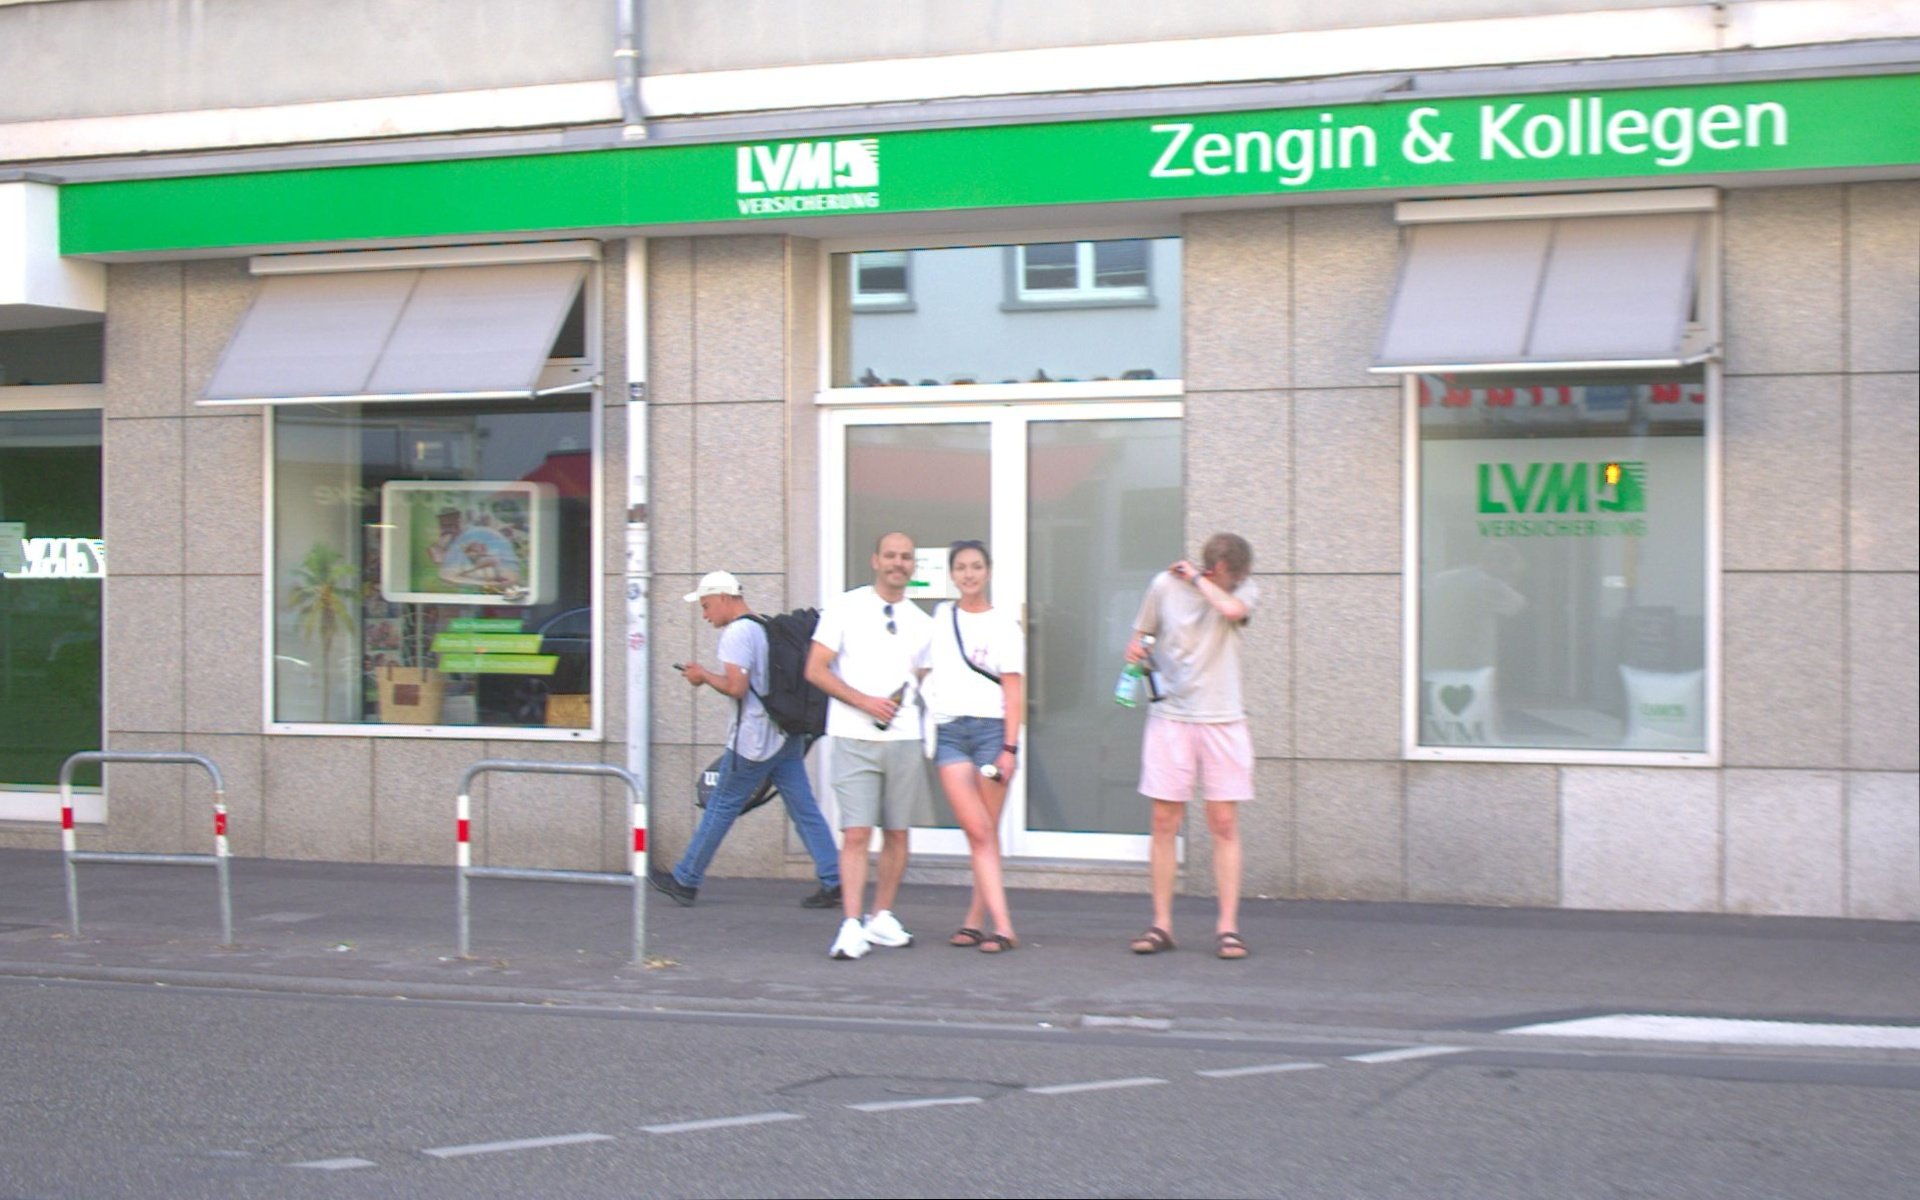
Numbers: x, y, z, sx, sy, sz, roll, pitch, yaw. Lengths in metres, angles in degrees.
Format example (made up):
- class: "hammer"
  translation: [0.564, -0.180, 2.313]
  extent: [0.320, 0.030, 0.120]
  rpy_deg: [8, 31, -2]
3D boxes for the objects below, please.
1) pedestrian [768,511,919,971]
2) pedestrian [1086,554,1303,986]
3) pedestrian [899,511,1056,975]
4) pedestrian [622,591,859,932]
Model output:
- class: "pedestrian"
  translation: [-0.494, 0.587, 14.687]
  extent: [0.495, 1.922, 0.575]
  rpy_deg: [0, 0, 15]
- class: "pedestrian"
  translation: [0.978, 0.681, 14.265]
  extent: [0.698, 1.739, 0.639]
  rpy_deg: [0, 0, 28]
- class: "pedestrian"
  translation: [0.079, 0.591, 14.622]
  extent: [0.528, 1.922, 0.639]
  rpy_deg: [0, 0, 14]
- class: "pedestrian"
  translation: [-1.025, 0.733, 16.115]
  extent: [0.868, 1.543, 0.698]
  rpy_deg: [0, 0, 28]
